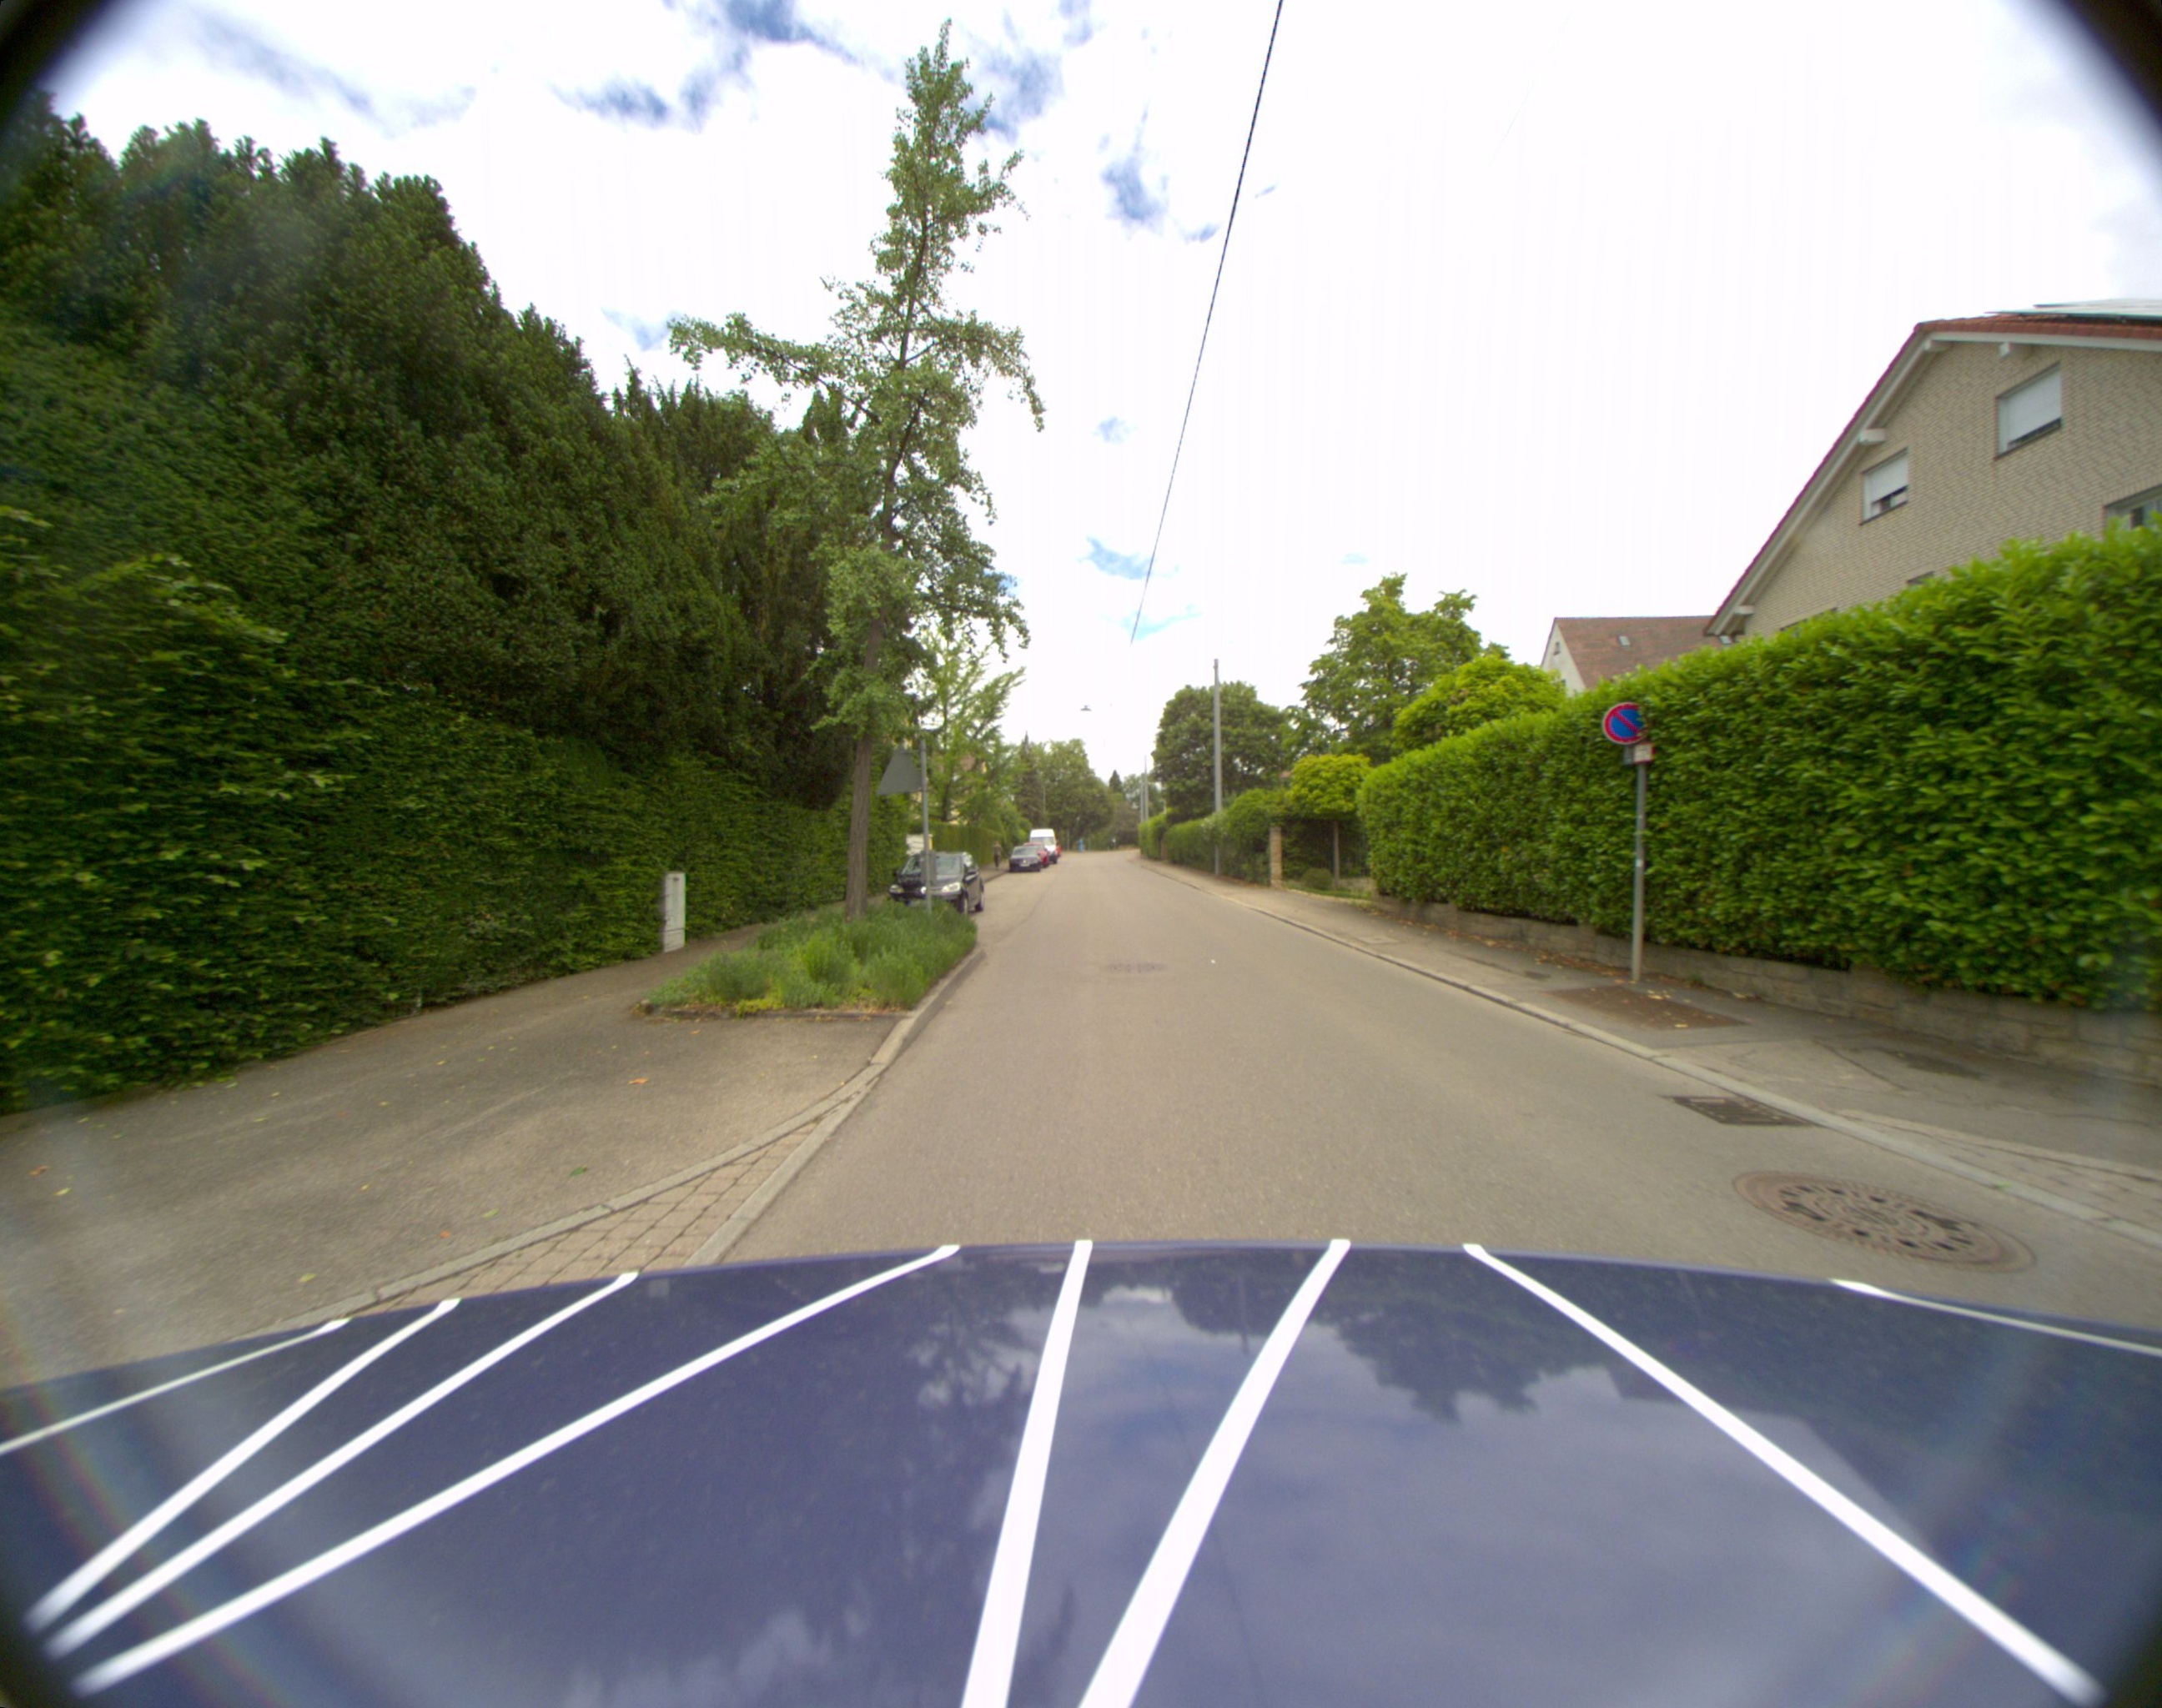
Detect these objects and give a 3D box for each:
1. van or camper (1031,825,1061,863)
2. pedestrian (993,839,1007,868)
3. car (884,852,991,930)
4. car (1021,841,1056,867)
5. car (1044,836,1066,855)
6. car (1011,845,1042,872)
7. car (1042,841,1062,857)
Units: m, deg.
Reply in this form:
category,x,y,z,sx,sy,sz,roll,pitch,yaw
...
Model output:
category,x,y,z,sx,sy,sz,roll,pitch,yaw
van or camper,-2.594,-0.778,57.703,2.047,2.605,7.036,-2,1,-2
pedestrian,-4.738,-0.045,44.505,0.671,1.689,0.918,0,2,2
car,-3.086,0.740,17.016,1.627,1.464,3.739,-1,1,0
car,-2.689,-0.063,49.236,1.893,1.572,4.764,1,1,1
car,-2.636,-0.889,77.937,1.771,1.755,4.161,-2,1,3
car,-3.140,0.215,43.282,1.684,1.399,4.050,0,1,-5
car,-2.736,-0.490,72.056,1.704,1.422,4.393,-2,1,-1
